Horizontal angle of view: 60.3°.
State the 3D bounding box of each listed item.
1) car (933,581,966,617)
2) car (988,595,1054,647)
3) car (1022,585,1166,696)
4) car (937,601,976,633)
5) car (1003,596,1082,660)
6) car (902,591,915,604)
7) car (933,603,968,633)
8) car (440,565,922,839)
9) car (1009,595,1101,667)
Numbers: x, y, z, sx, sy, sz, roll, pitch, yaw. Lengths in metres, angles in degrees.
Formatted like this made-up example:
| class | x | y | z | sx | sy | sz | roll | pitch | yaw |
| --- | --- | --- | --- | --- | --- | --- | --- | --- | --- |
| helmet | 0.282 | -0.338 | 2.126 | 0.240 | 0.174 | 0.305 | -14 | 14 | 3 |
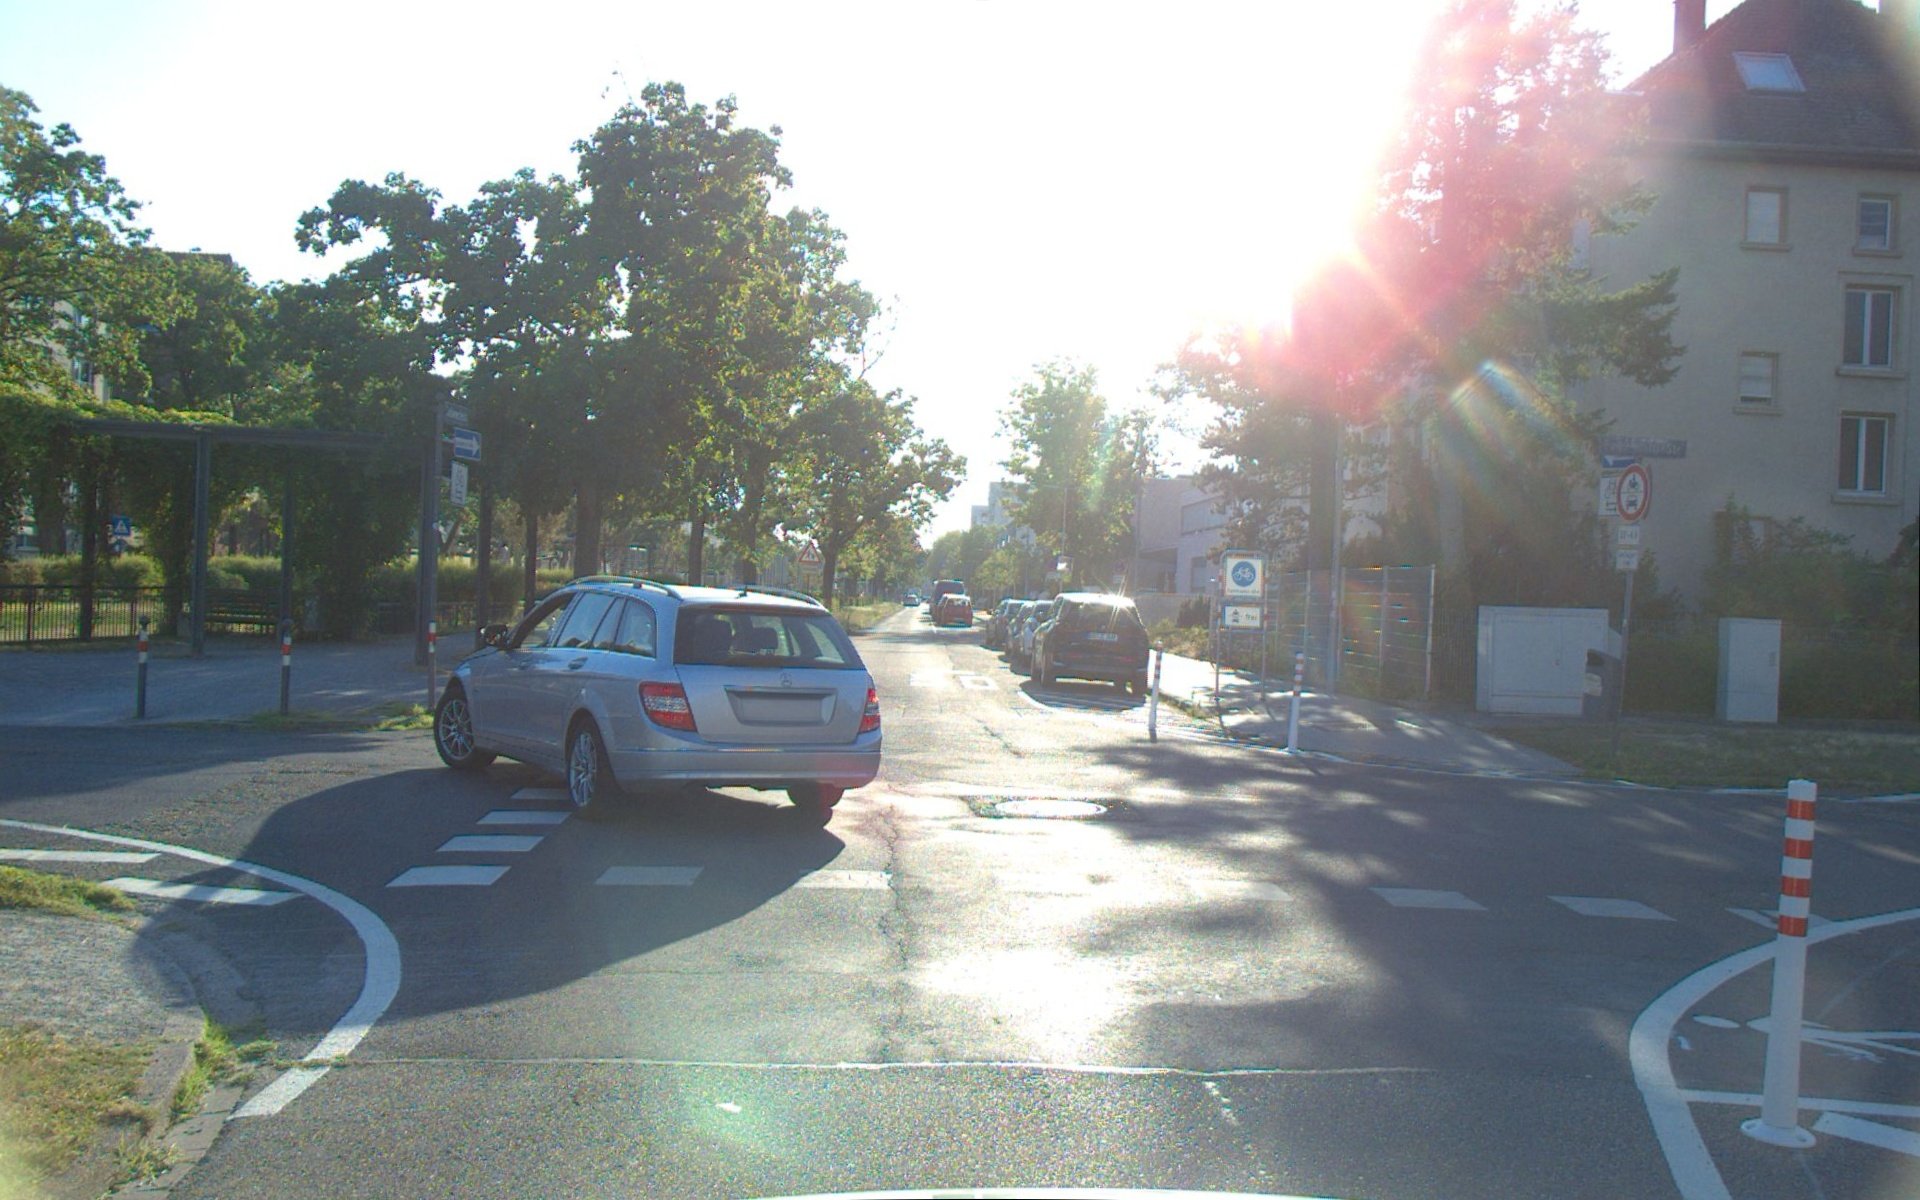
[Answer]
| class | x | y | z | sx | sy | sz | roll | pitch | yaw |
| --- | --- | --- | --- | --- | --- | --- | --- | --- | --- |
| car | -0.699 | -0.086 | 104.653 | 1.953 | 2.160 | 3.999 | 2 | 0 | -1 |
| car | 1.880 | 0.643 | 52.209 | 1.730 | 1.552 | 3.771 | 1 | 0 | -3 |
| car | 2.282 | 0.661 | 29.244 | 1.782 | 1.670 | 4.213 | 5 | 0 | -4 |
| car | -0.200 | 0.877 | 86.938 | 1.722 | 1.544 | 3.757 | 2 | 0 | -4 |
| car | 2.107 | 0.693 | 43.010 | 1.695 | 1.544 | 3.758 | 2 | 0 | -2 |
| car | -7.319 | -0.369 | 234.207 | 1.828 | 1.646 | 3.998 | 2 | 0 | -3 |
| car | -0.551 | 1.003 | 91.385 | 1.696 | 1.544 | 3.757 | 2 | 0 | -4 |
| car | -2.091 | 0.540 | 11.292 | 1.799 | 1.498 | 4.171 | 2 | 0 | -32 |
| car | 2.138 | 0.677 | 38.103 | 1.730 | 1.552 | 3.771 | 1 | 0 | -2 |
